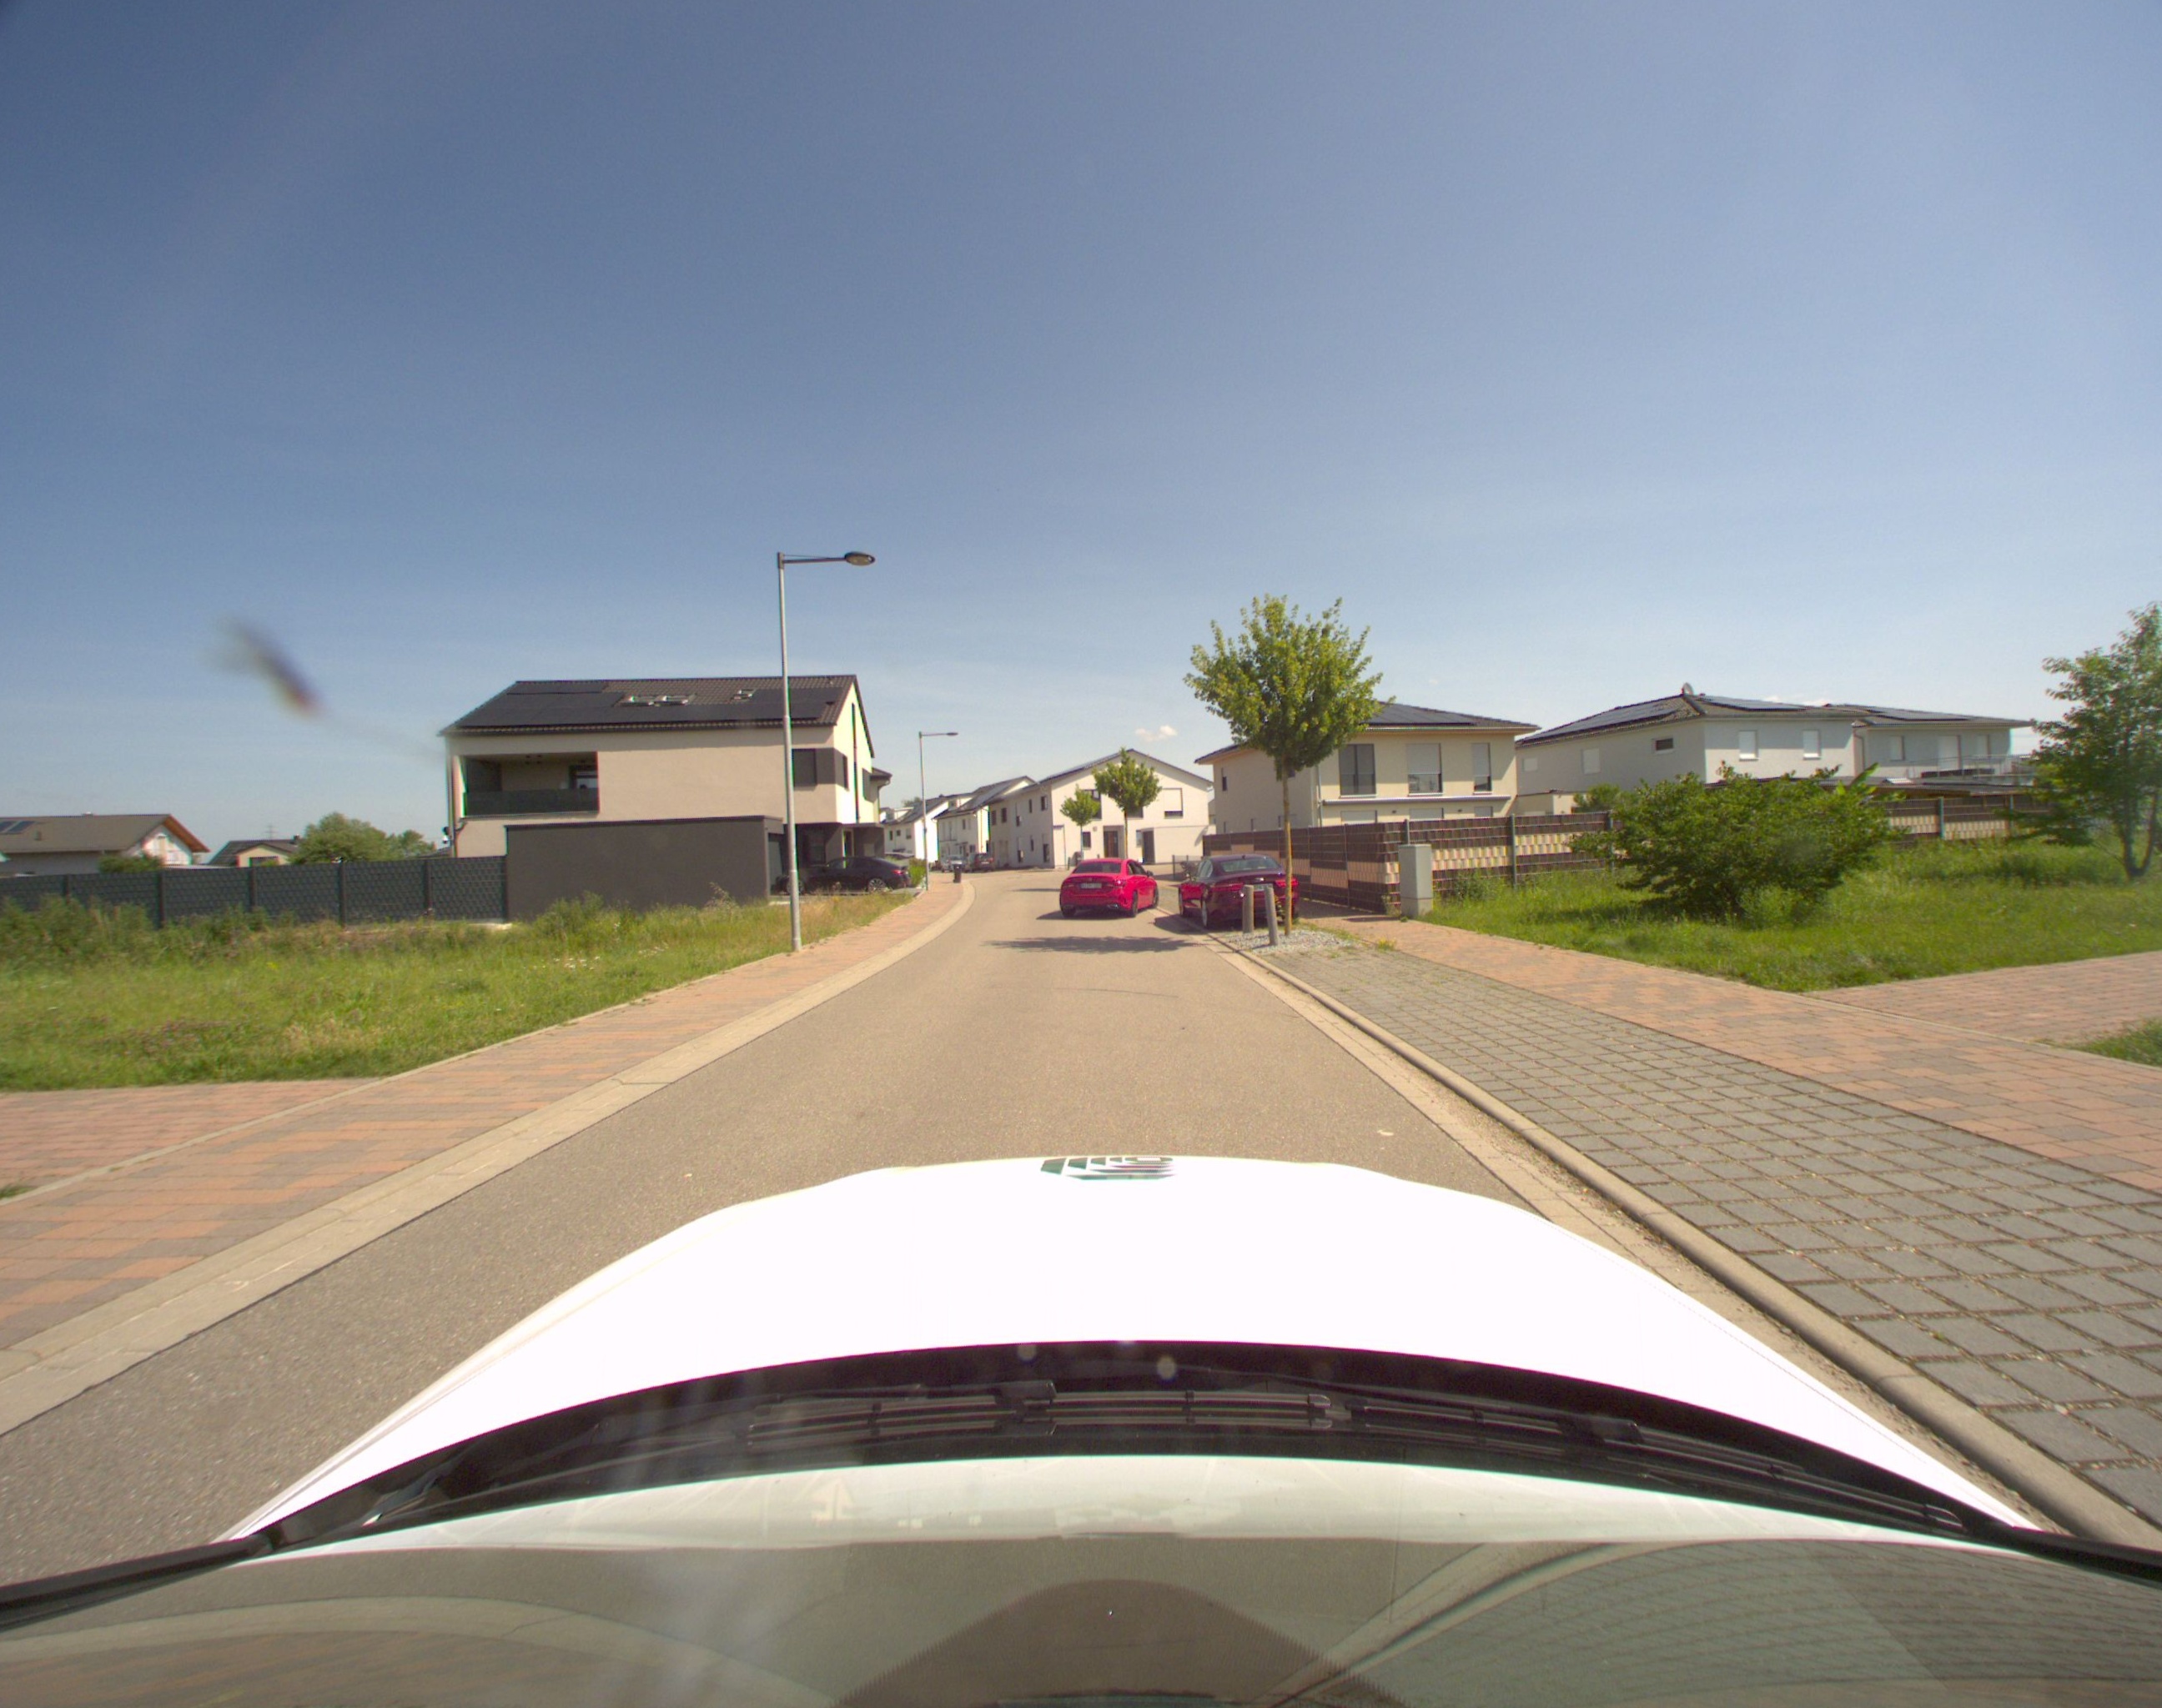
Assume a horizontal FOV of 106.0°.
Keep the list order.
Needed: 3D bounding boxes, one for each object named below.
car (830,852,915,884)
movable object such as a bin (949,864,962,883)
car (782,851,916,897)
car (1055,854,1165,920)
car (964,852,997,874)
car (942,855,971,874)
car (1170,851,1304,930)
[{"bbox_3d":[-10.792,0.699,42.387,3.979,1.486,1.752,-2,0,-4],"label":"car"},{"bbox_3d":[-6.151,0.959,39.918,0.532,0.936,0.526,-1,0,3],"label":"movable object such as a bin"},{"bbox_3d":[-8.324,0.706,29.539,4.370,1.631,1.767,0,0,-6],"label":"car"},{"bbox_3d":[0.879,0.773,20.966,1.749,1.438,4.539,-1,0,16],"label":"car"},{"bbox_3d":[-7.412,0.668,59.711,1.731,1.422,3.977,-3,0,-17],"label":"car"},{"bbox_3d":[-10.592,0.916,69.142,1.682,1.464,3.918,-3,0,-19],"label":"car"},{"bbox_3d":[3.136,0.659,17.284,1.750,1.363,4.571,-3,0,-2],"label":"car"}]
